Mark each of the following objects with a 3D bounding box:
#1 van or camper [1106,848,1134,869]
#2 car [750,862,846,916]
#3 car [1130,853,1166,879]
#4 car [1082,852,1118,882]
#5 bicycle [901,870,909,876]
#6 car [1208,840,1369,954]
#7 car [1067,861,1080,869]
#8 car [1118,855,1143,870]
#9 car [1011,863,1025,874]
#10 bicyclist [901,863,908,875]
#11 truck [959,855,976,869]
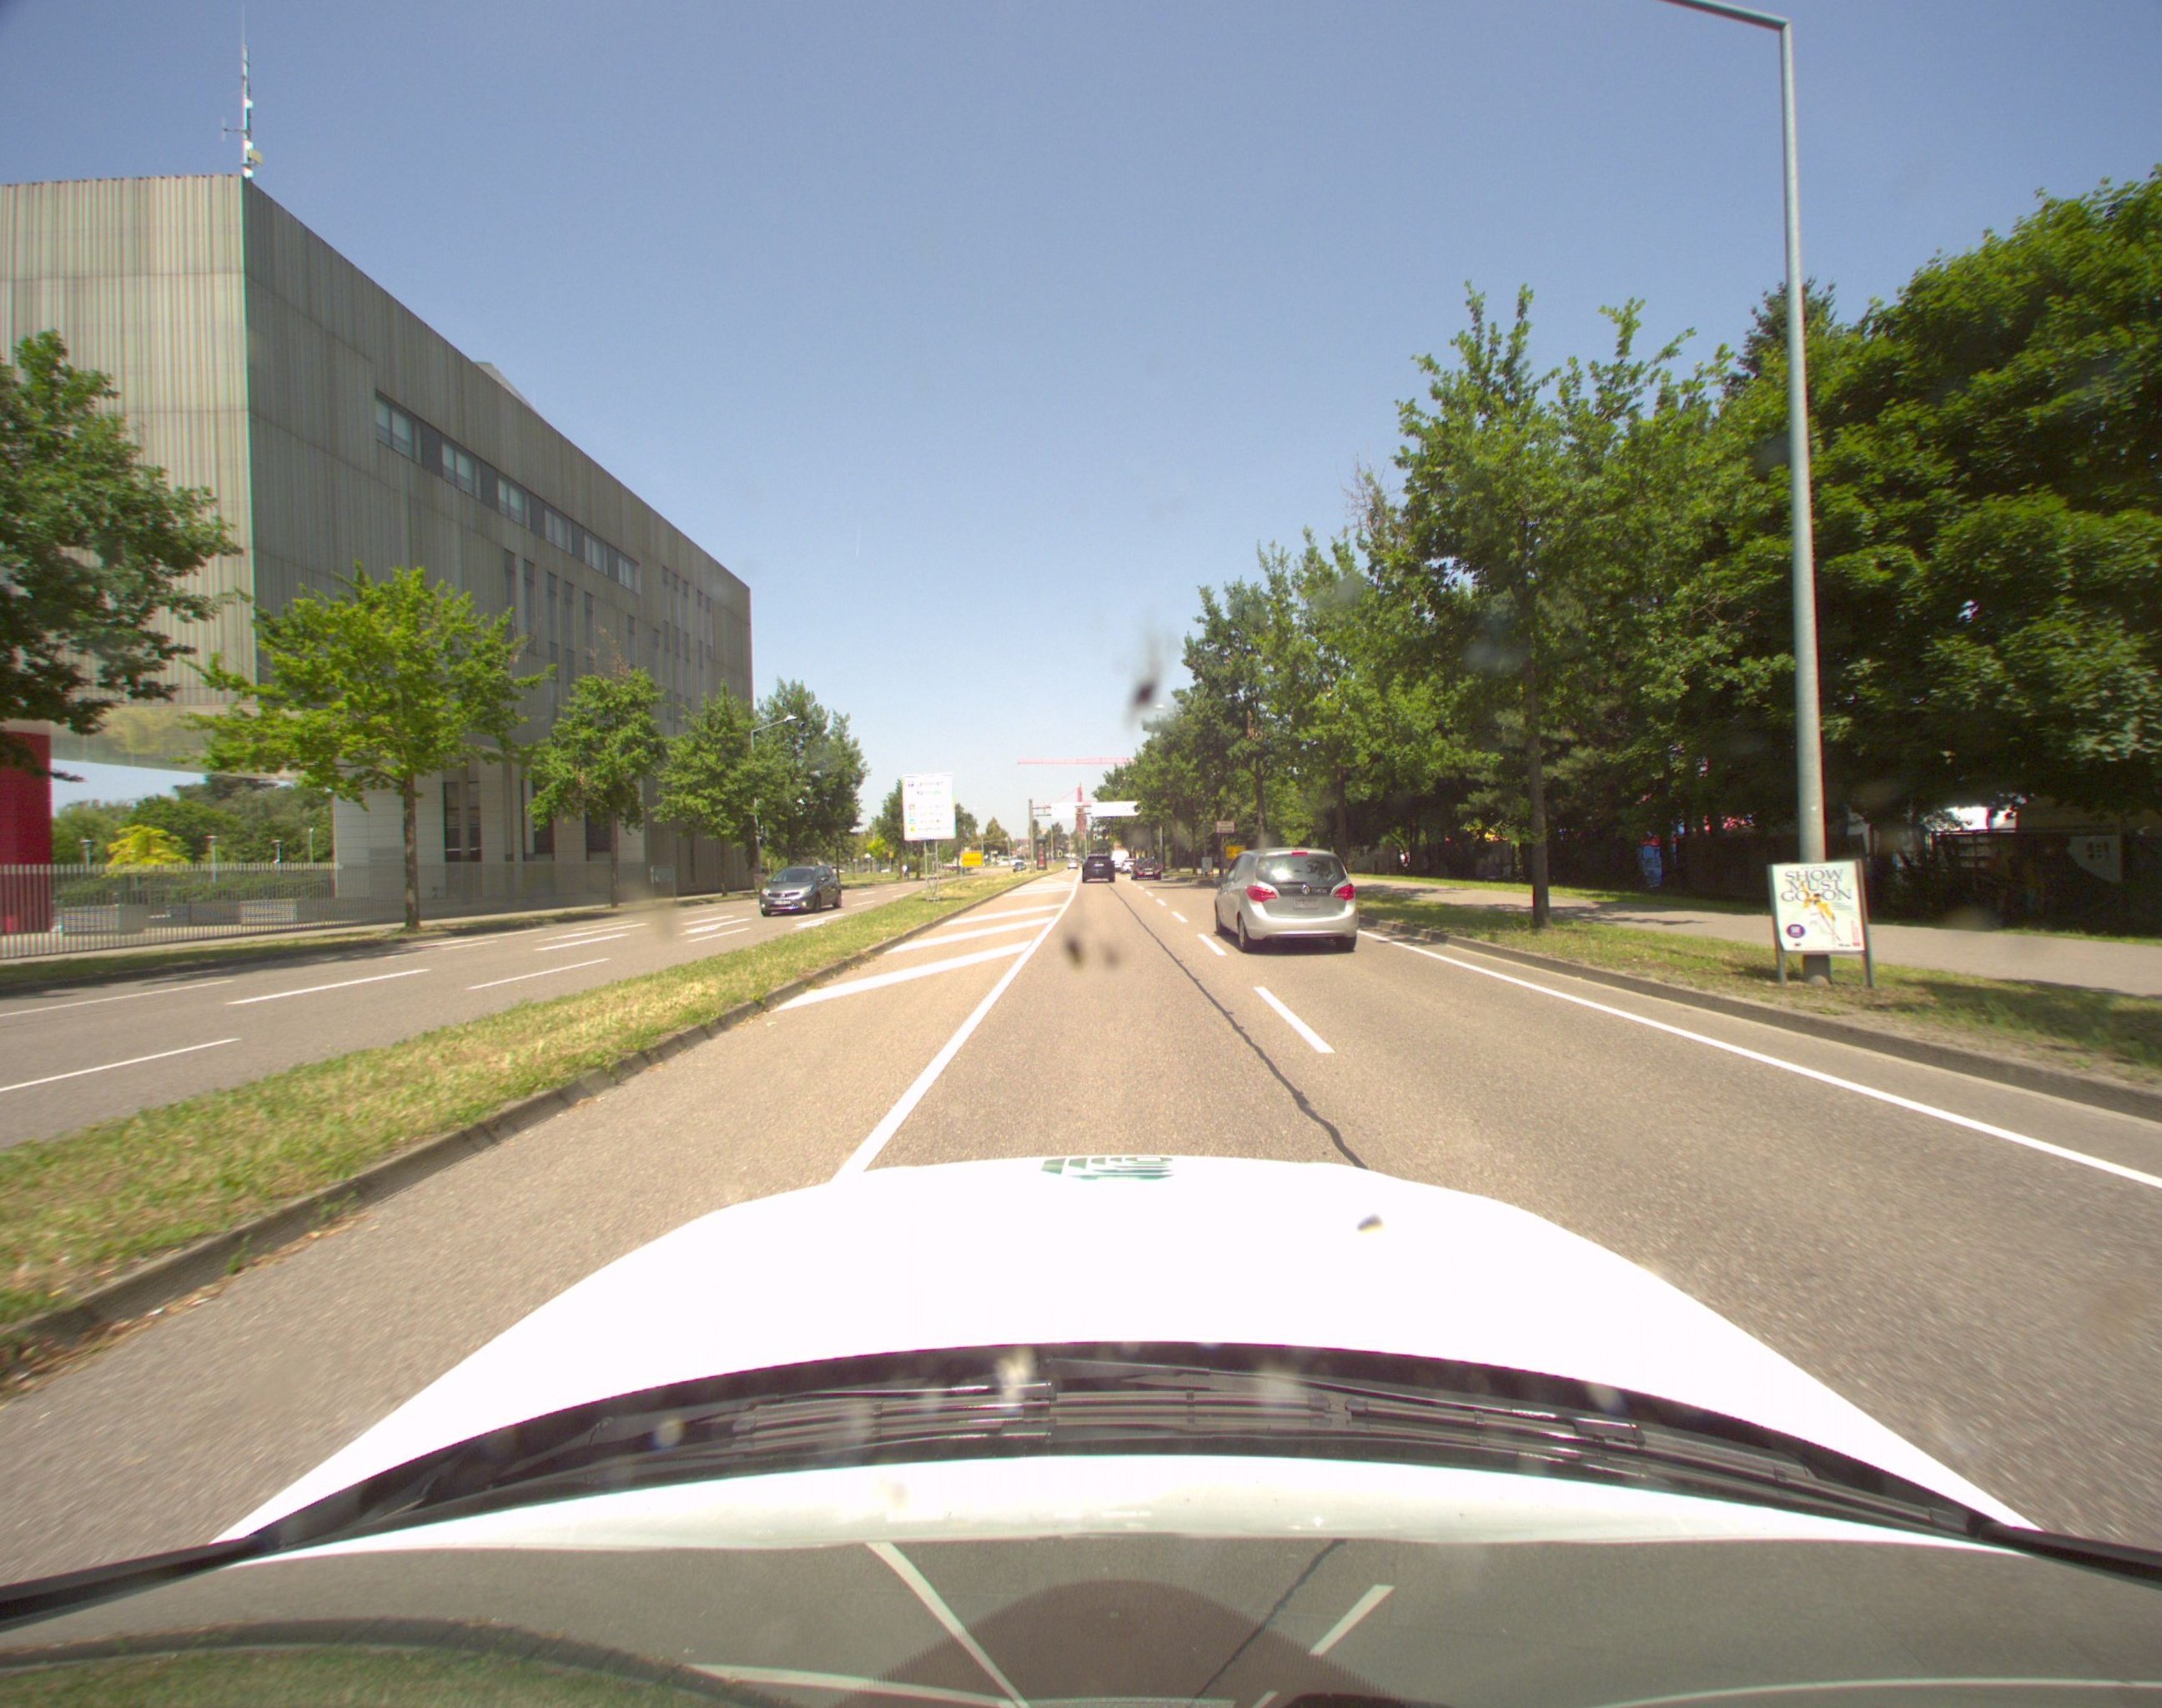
[{"bbox_3d":[4.450,0.531,94.577,2.491,2.291,4.910,-2,-1,-6],"label":"van or camper"},{"bbox_3d":[-8.878,1.044,25.927,1.703,1.471,3.938,-3,0,-2],"label":"car"},{"bbox_3d":[4.212,0.774,51.874,2.006,1.517,4.463,-2,0,2],"label":"car"},{"bbox_3d":[1.133,0.726,48.053,1.990,1.689,4.035,-1,0,2],"label":"car"},{"bbox_3d":[-22.537,2.450,104.440,0.479,0.715,1.852,-2,-1,3],"label":"bicycle"},{"bbox_3d":[3.281,0.618,13.632,1.786,1.612,3.892,-1,0,1],"label":"car"},{"bbox_3d":[-1.337,1.880,138.882,1.990,1.321,3.994,-2,0,-4],"label":"car"},{"bbox_3d":[4.796,0.862,79.528,1.653,1.356,4.450,-2,0,-7],"label":"car"},{"bbox_3d":[-9.634,2.227,125.090,1.888,1.610,4.531,-2,0,-2],"label":"car"},{"bbox_3d":[-22.575,1.883,104.369,0.620,1.489,0.757,-2,-1,3],"label":"bicyclist"},{"bbox_3d":[-22.776,1.557,163.250,2.632,2.576,6.314,-2,0,-2],"label":"truck"}]
